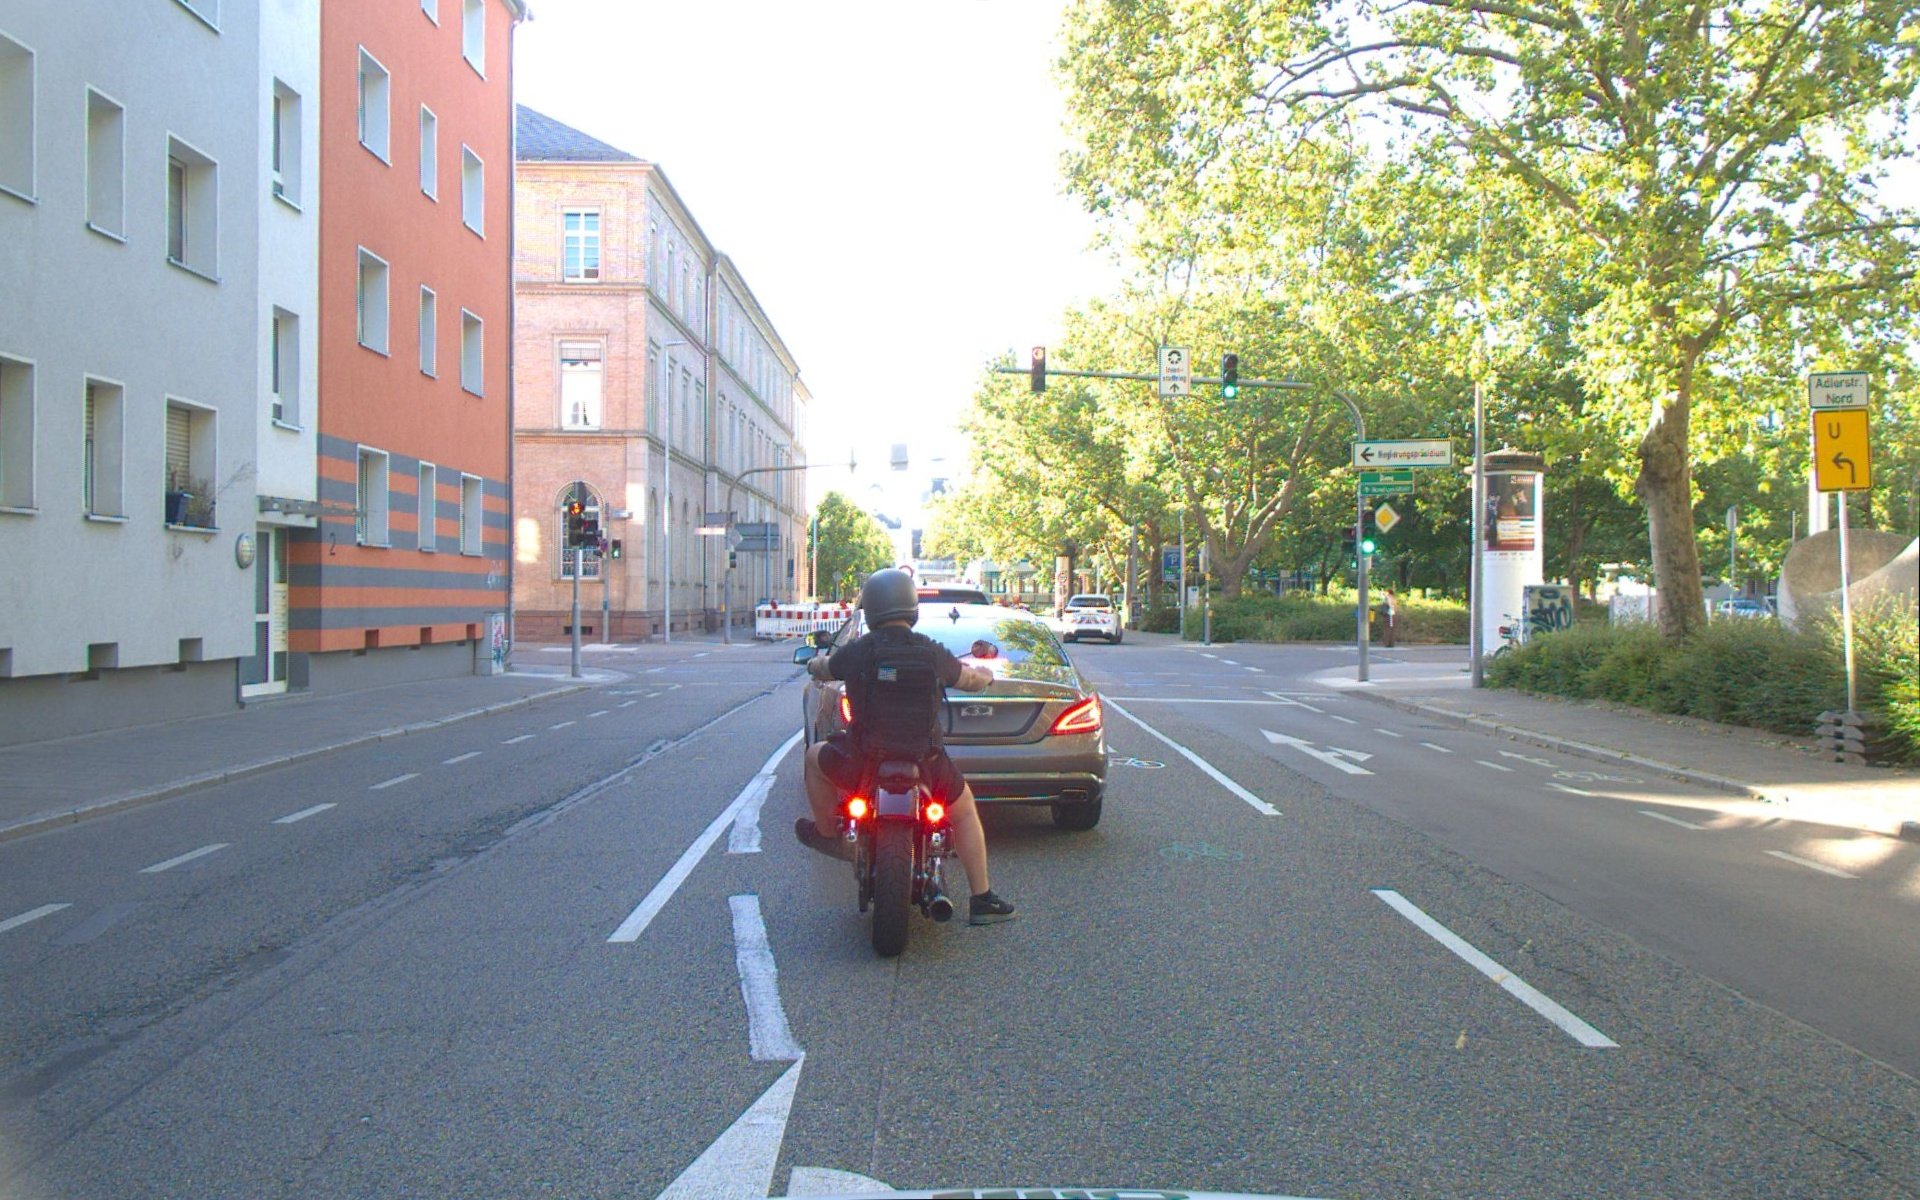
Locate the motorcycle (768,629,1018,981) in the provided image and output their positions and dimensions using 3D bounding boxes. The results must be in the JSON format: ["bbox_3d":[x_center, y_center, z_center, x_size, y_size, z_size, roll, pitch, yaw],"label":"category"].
[{"bbox_3d":[-0.274,0.809,7.566,0.961,1.297,2.407,0,0,-1],"label":"motorcycle"}]

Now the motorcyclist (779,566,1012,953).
[{"bbox_3d":[-0.276,0.660,7.499,0.961,1.606,1.248,0,0,-1],"label":"motorcyclist"}]

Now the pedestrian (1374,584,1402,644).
[{"bbox_3d":[13.147,0.425,50.804,0.664,1.803,0.616,1,-1,29],"label":"pedestrian"}]

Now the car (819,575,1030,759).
[{"bbox_3d":[-0.360,0.636,17.548,1.953,1.695,3.999,1,0,-1],"label":"car"}]

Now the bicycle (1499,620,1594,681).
[{"bbox_3d":[9.789,0.838,27.605,1.452,0.997,0.299,1,-1,5],"label":"bicycle"}]

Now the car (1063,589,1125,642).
[{"bbox_3d":[4.775,0.520,58.420,1.902,1.738,4.487,2,0,7],"label":"car"}]

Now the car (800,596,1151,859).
[{"bbox_3d":[-0.111,0.712,11.628,1.834,1.469,4.422,0,0,-8],"label":"car"}]
